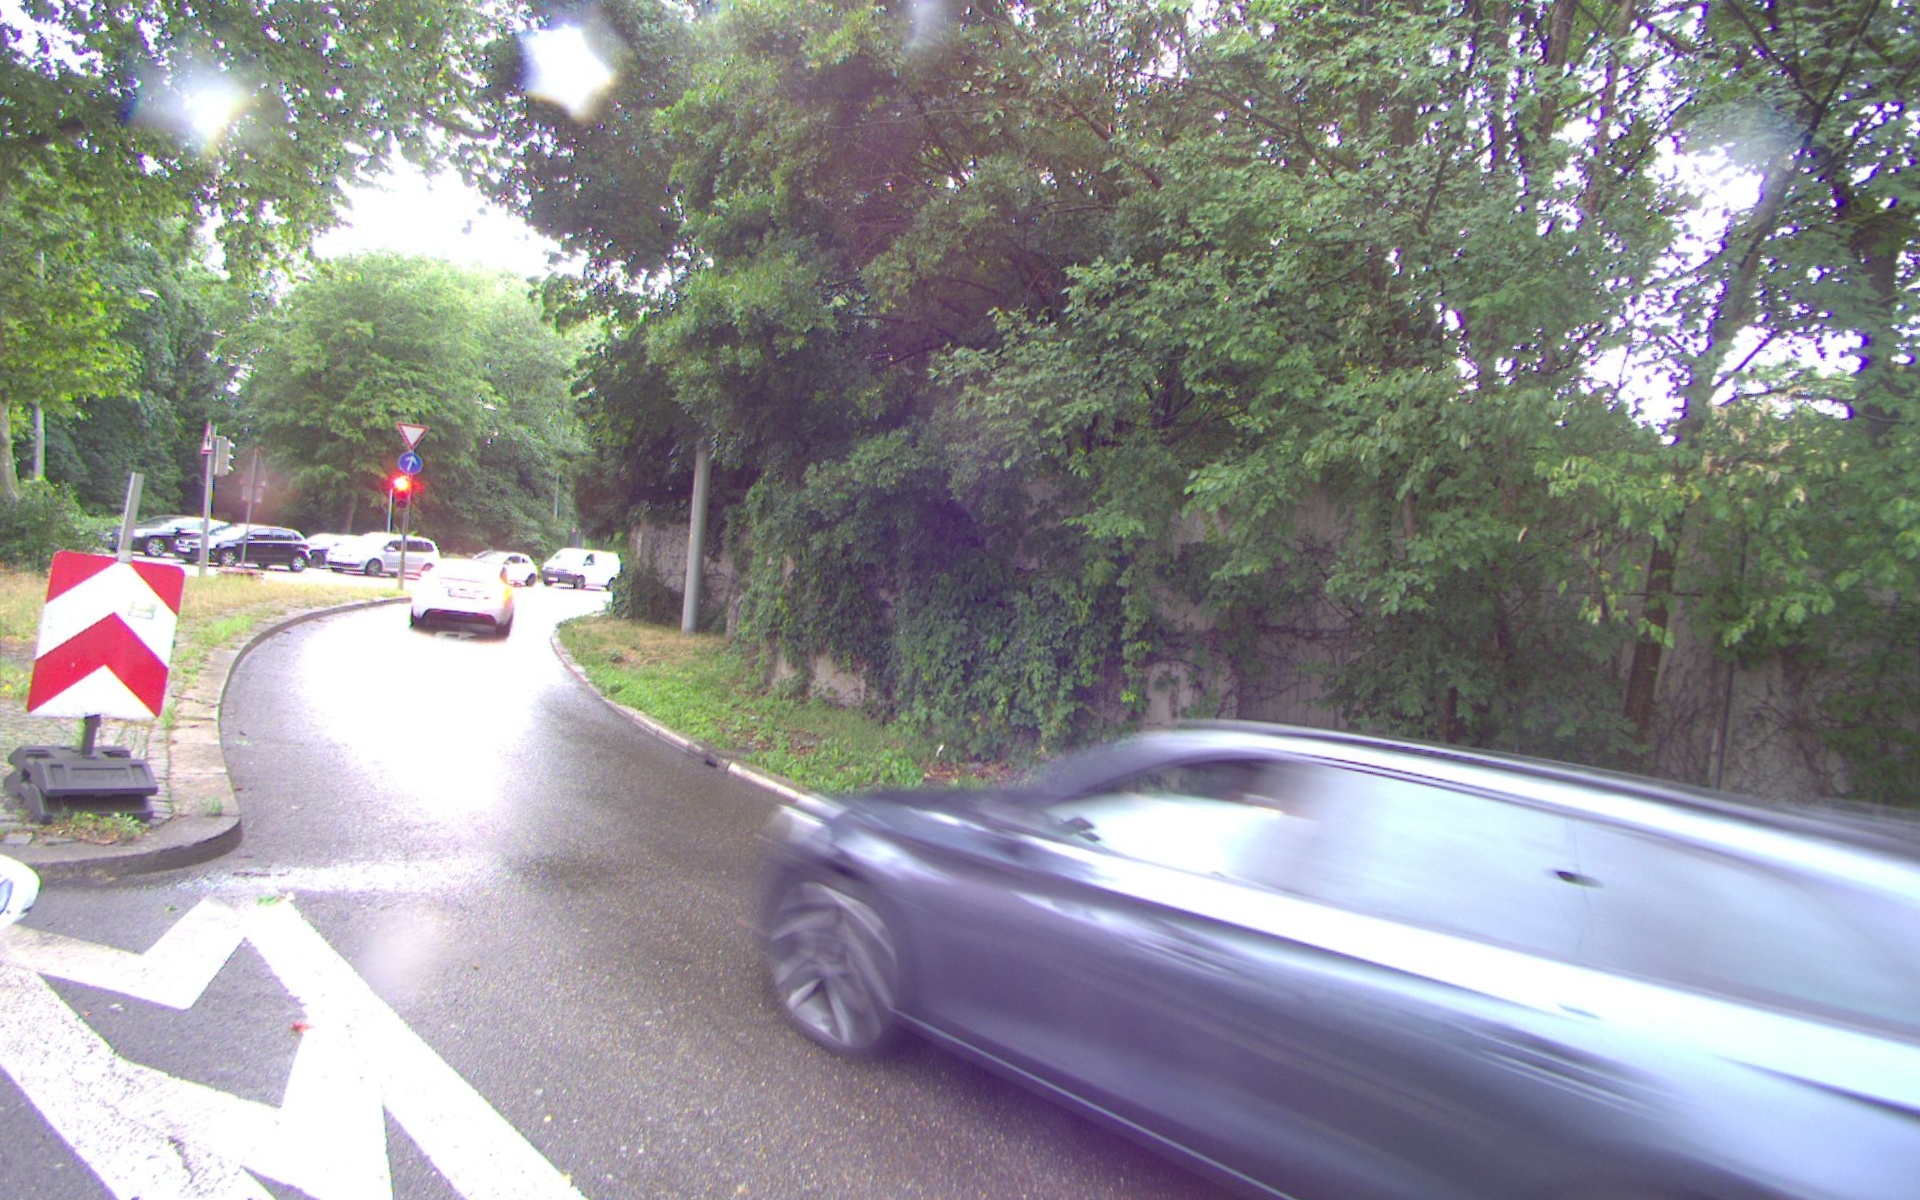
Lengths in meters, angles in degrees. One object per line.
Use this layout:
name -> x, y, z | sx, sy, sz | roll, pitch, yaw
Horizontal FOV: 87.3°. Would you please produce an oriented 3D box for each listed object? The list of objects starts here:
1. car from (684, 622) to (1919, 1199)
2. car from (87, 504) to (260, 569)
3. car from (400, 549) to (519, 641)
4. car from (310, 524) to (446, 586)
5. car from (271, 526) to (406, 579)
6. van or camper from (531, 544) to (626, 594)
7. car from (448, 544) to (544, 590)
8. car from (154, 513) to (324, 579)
car -> 1.172, 1.103, 3.315 | 4.351, 1.418, 1.748 | 7, -3, 41
car -> -26.666, -2.109, 34.303 | 1.913, 1.457, 4.218 | 7, -2, 16
car -> -10.567, -0.146, 21.529 | 1.837, 1.464, 4.593 | 11, -3, -24
car -> -22.075, -1.649, 38.348 | 1.871, 1.699, 4.216 | 7, -2, 16
car -> -24.787, -1.872, 40.318 | 1.795, 1.418, 4.452 | 7, -2, 16
van or camper -> -19.127, -1.513, 50.705 | 1.870, 1.970, 4.870 | 7, -1, 13
car -> -20.541, -1.422, 44.690 | 1.627, 1.478, 3.869 | 7, -2, 16
car -> -23.312, -1.702, 32.733 | 1.759, 1.477, 4.205 | 7, -2, 16
